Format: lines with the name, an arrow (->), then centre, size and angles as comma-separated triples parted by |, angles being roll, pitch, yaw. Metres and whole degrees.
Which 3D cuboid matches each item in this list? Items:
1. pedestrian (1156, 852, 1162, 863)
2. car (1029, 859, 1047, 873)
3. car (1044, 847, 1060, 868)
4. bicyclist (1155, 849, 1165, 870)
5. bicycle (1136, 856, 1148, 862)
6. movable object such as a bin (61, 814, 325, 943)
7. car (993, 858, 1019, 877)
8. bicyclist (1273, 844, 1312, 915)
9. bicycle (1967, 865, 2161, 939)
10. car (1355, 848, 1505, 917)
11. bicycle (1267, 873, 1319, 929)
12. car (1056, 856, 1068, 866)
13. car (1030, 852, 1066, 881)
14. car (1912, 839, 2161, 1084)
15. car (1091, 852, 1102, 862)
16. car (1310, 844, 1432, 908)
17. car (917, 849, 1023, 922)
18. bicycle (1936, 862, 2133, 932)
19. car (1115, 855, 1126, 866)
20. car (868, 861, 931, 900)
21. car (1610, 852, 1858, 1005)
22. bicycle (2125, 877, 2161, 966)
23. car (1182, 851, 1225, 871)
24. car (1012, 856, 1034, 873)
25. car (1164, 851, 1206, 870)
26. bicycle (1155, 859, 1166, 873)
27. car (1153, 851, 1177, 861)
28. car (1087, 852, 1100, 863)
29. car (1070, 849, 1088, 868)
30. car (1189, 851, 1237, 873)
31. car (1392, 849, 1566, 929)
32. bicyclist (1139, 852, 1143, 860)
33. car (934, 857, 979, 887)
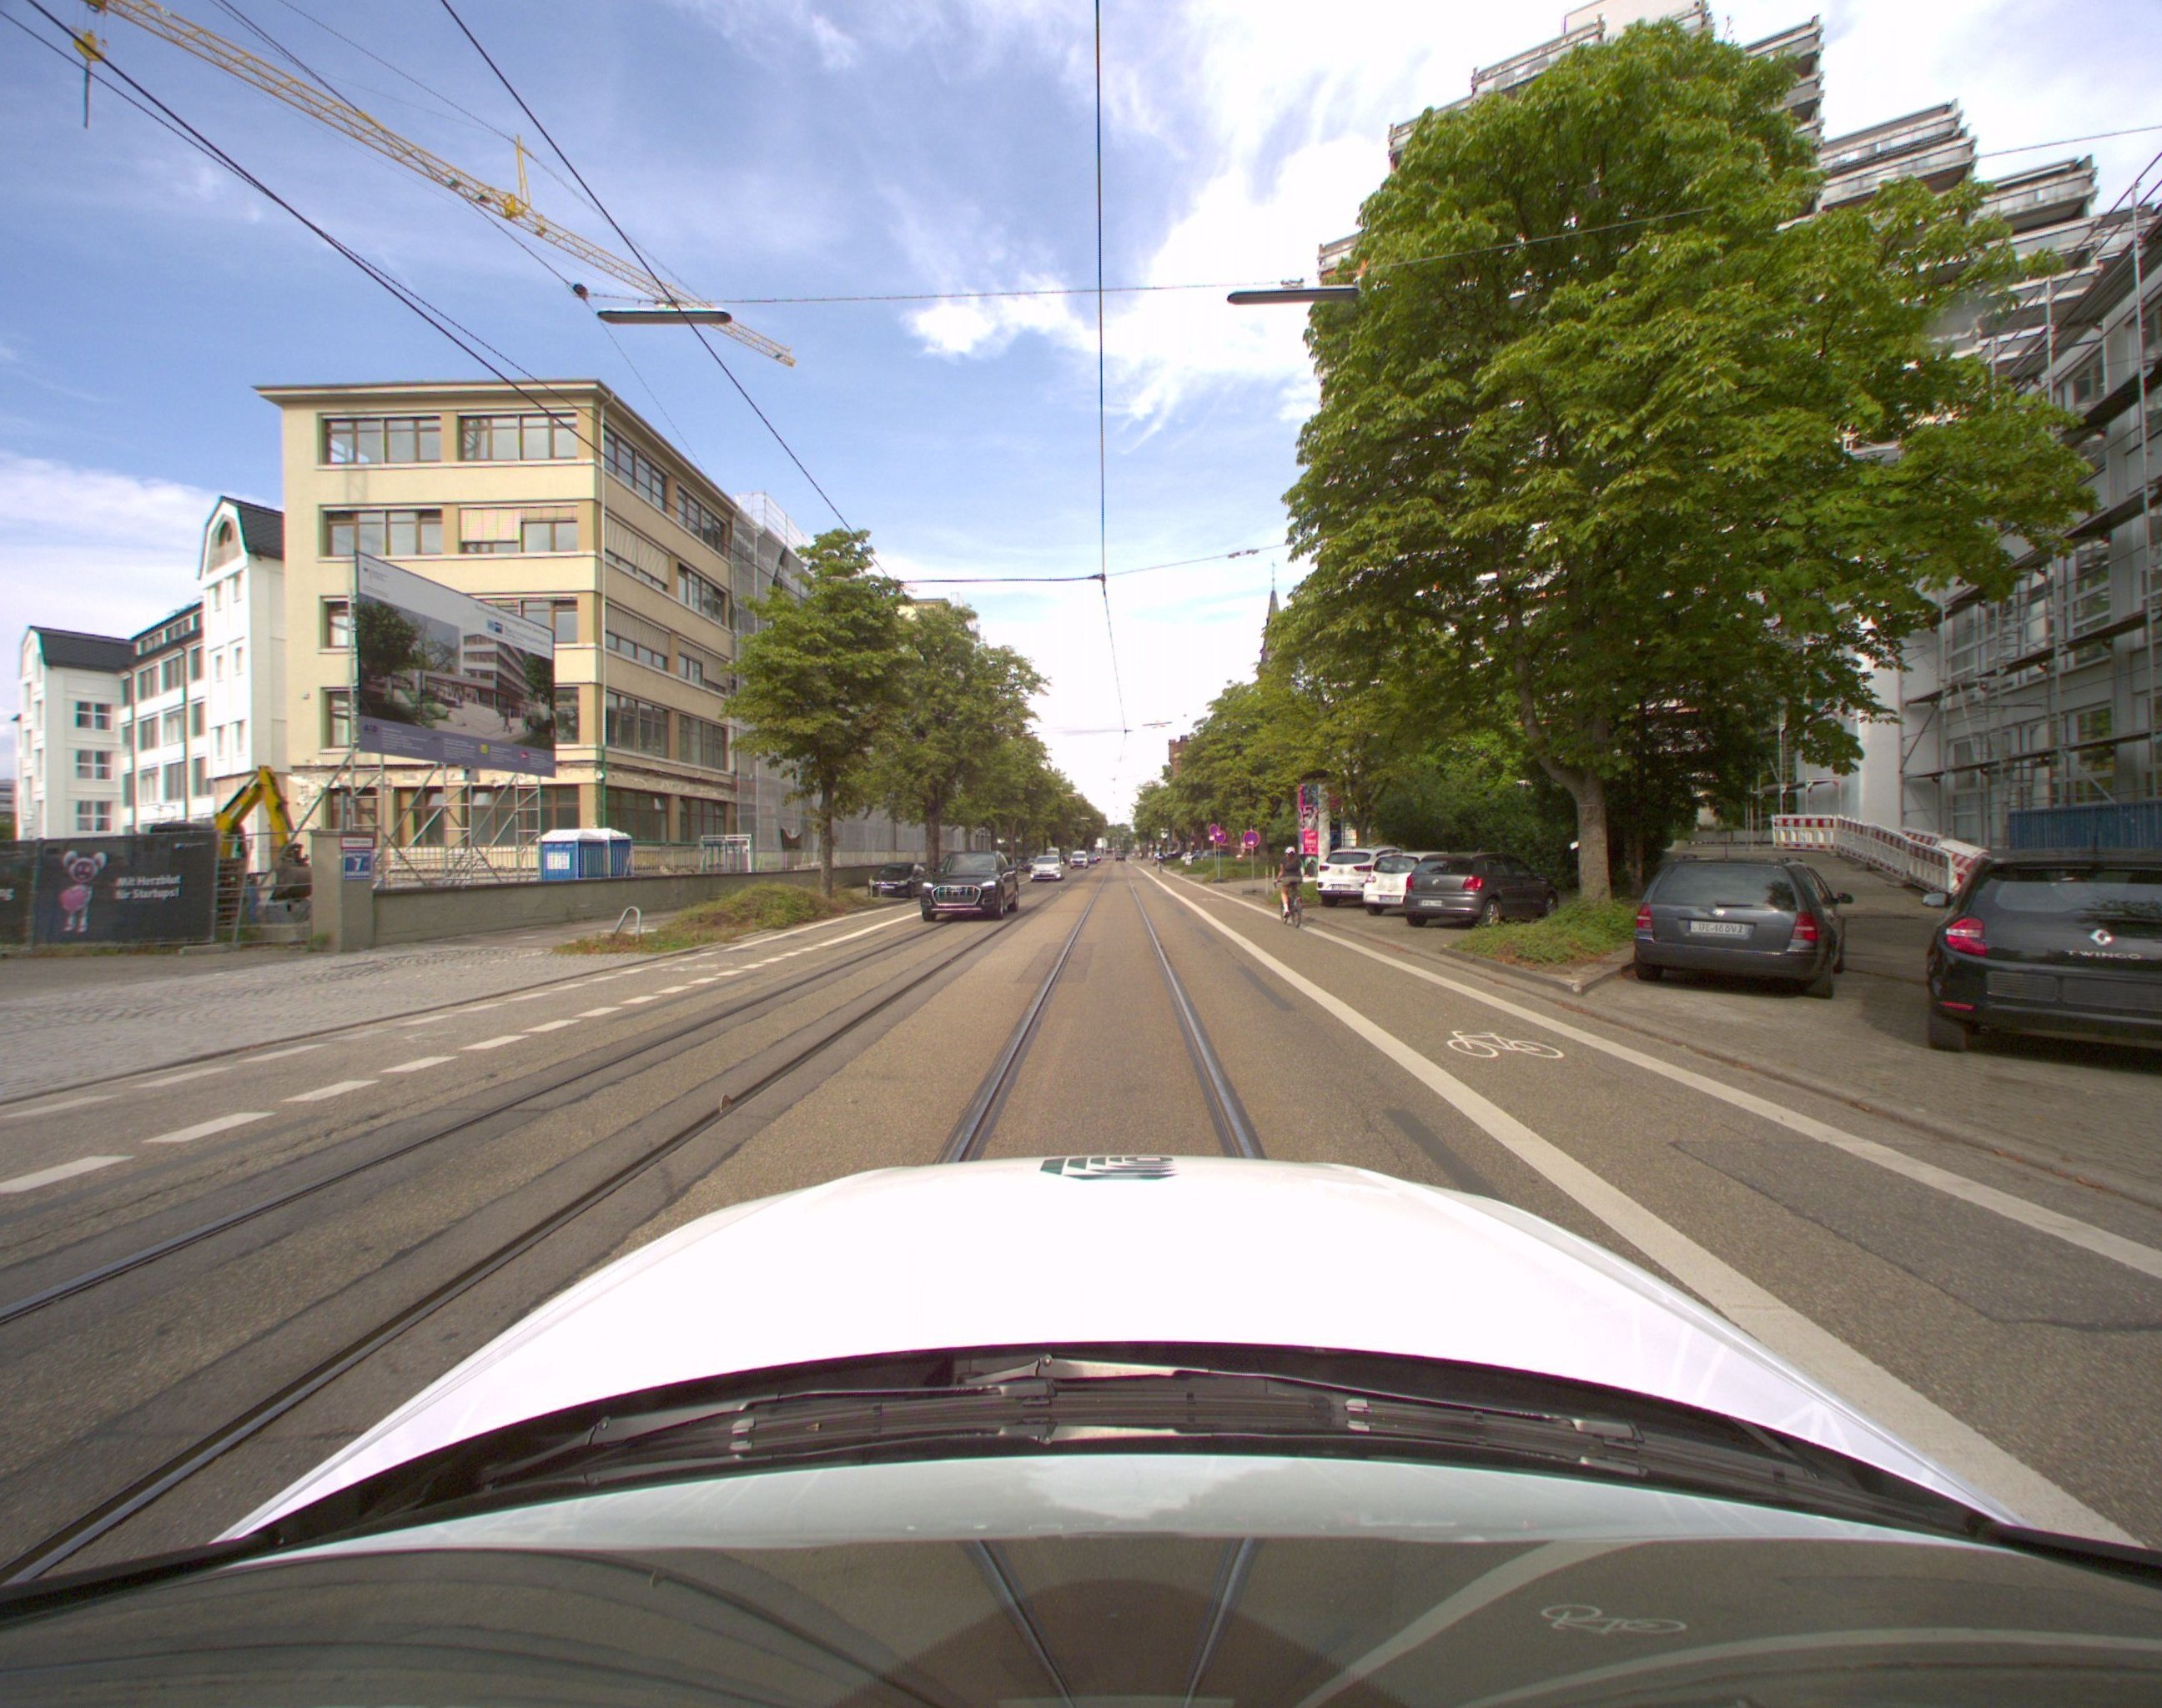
pedestrian -> 13.829, 0.607, 144.283 | 0.742, 1.790, 0.734 | -1, -1, 17
car -> -4.373, 1.192, 83.226 | 1.585, 1.402, 3.962 | 0, 0, 0
car -> -3.775, 0.420, 106.778 | 1.715, 2.704, 5.470 | 0, 0, 0
bicyclist -> 5.715, 0.380, 58.821 | 0.656, 1.496, 0.930 | -1, 0, 3
bicycle -> 12.525, 0.959, 166.950 | 2.260, 1.189, 0.771 | -1, 0, 10
movable object such as a bin -> -18.349, 0.495, 16.964 | 3.030, 2.443, 2.506 | -1, -1, 12
car -> -5.777, 0.992, 62.729 | 1.585, 1.402, 3.962 | 0, 0, 0
bicyclist -> 4.458, 0.523, 17.211 | 0.591, 1.459, 0.875 | -1, 0, 0
bicycle -> 14.753, 0.688, 12.166 | 1.952, 1.043, 0.598 | -1, 0, 30
car -> 8.298, 0.620, 19.268 | 3.663, 1.474, 1.663 | 0, -1, -37
bicycle -> 4.458, 0.958, 17.209 | 0.591, 1.043, 1.978 | -1, 0, 0
car -> -2.816, 0.956, 119.249 | 1.585, 1.402, 3.962 | 0, 0, 0
car -> -1.876, 0.709, 47.808 | 1.725, 1.612, 4.337 | -1, 0, 2
car -> 7.890, 0.663, 6.493 | 3.436, 1.537, 1.577 | -1, 0, -41
car -> 2.730, 0.574, 143.185 | 1.726, 1.628, 4.380 | -2, 0, 2
car -> 8.054, 0.558, 22.493 | 3.667, 1.602, 1.661 | 0, -1, -43
car -> -2.656, 0.703, 20.484 | 1.840, 1.612, 4.338 | -1, 0, 3
bicycle -> 15.118, 0.653, 13.001 | 1.952, 1.043, 0.598 | 0, 0, 39
car -> 7.073, 1.137, 146.035 | 1.788, 1.824, 4.680 | 0, 0, 2
car -> -7.169, 1.017, 32.568 | 1.585, 1.402, 3.962 | 0, 0, 0
car -> 7.885, 0.699, 9.681 | 4.194, 1.415, 1.794 | 0, -1, -45
bicycle -> 13.618, 0.783, 9.428 | 1.817, 1.043, 0.456 | -2, -1, 31
car -> 10.320, 0.591, 68.313 | 3.667, 1.602, 1.661 | 0, -1, -43
car -> -5.173, 0.923, 73.021 | 1.585, 1.402, 3.962 | 0, 0, 0
car -> 9.009, 0.542, 70.495 | 3.667, 1.602, 1.661 | 0, -1, -43
bicycle -> 5.728, 0.859, 58.874 | 0.661, 1.043, 1.842 | -1, 0, 3
car -> 14.861, 0.387, 144.628 | 3.978, 1.693, 1.998 | -1, 0, -3
car -> 1.858, 0.493, 119.275 | 1.725, 1.496, 4.381 | -1, 0, 2
car -> -0.136, 0.433, 82.518 | 1.726, 1.884, 4.379 | -1, 0, 1
car -> 10.000, 0.591, 61.518 | 3.667, 1.602, 1.661 | 0, -1, -43
car -> 8.027, 0.637, 16.345 | 3.663, 1.419, 1.663 | 0, -1, -37
bicyclist -> 12.342, 0.395, 166.978 | 0.841, 1.504, 0.771 | -1, 0, 9
car -> -6.549, 0.943, 43.220 | 1.629, 1.496, 3.964 | 0, 0, 2
